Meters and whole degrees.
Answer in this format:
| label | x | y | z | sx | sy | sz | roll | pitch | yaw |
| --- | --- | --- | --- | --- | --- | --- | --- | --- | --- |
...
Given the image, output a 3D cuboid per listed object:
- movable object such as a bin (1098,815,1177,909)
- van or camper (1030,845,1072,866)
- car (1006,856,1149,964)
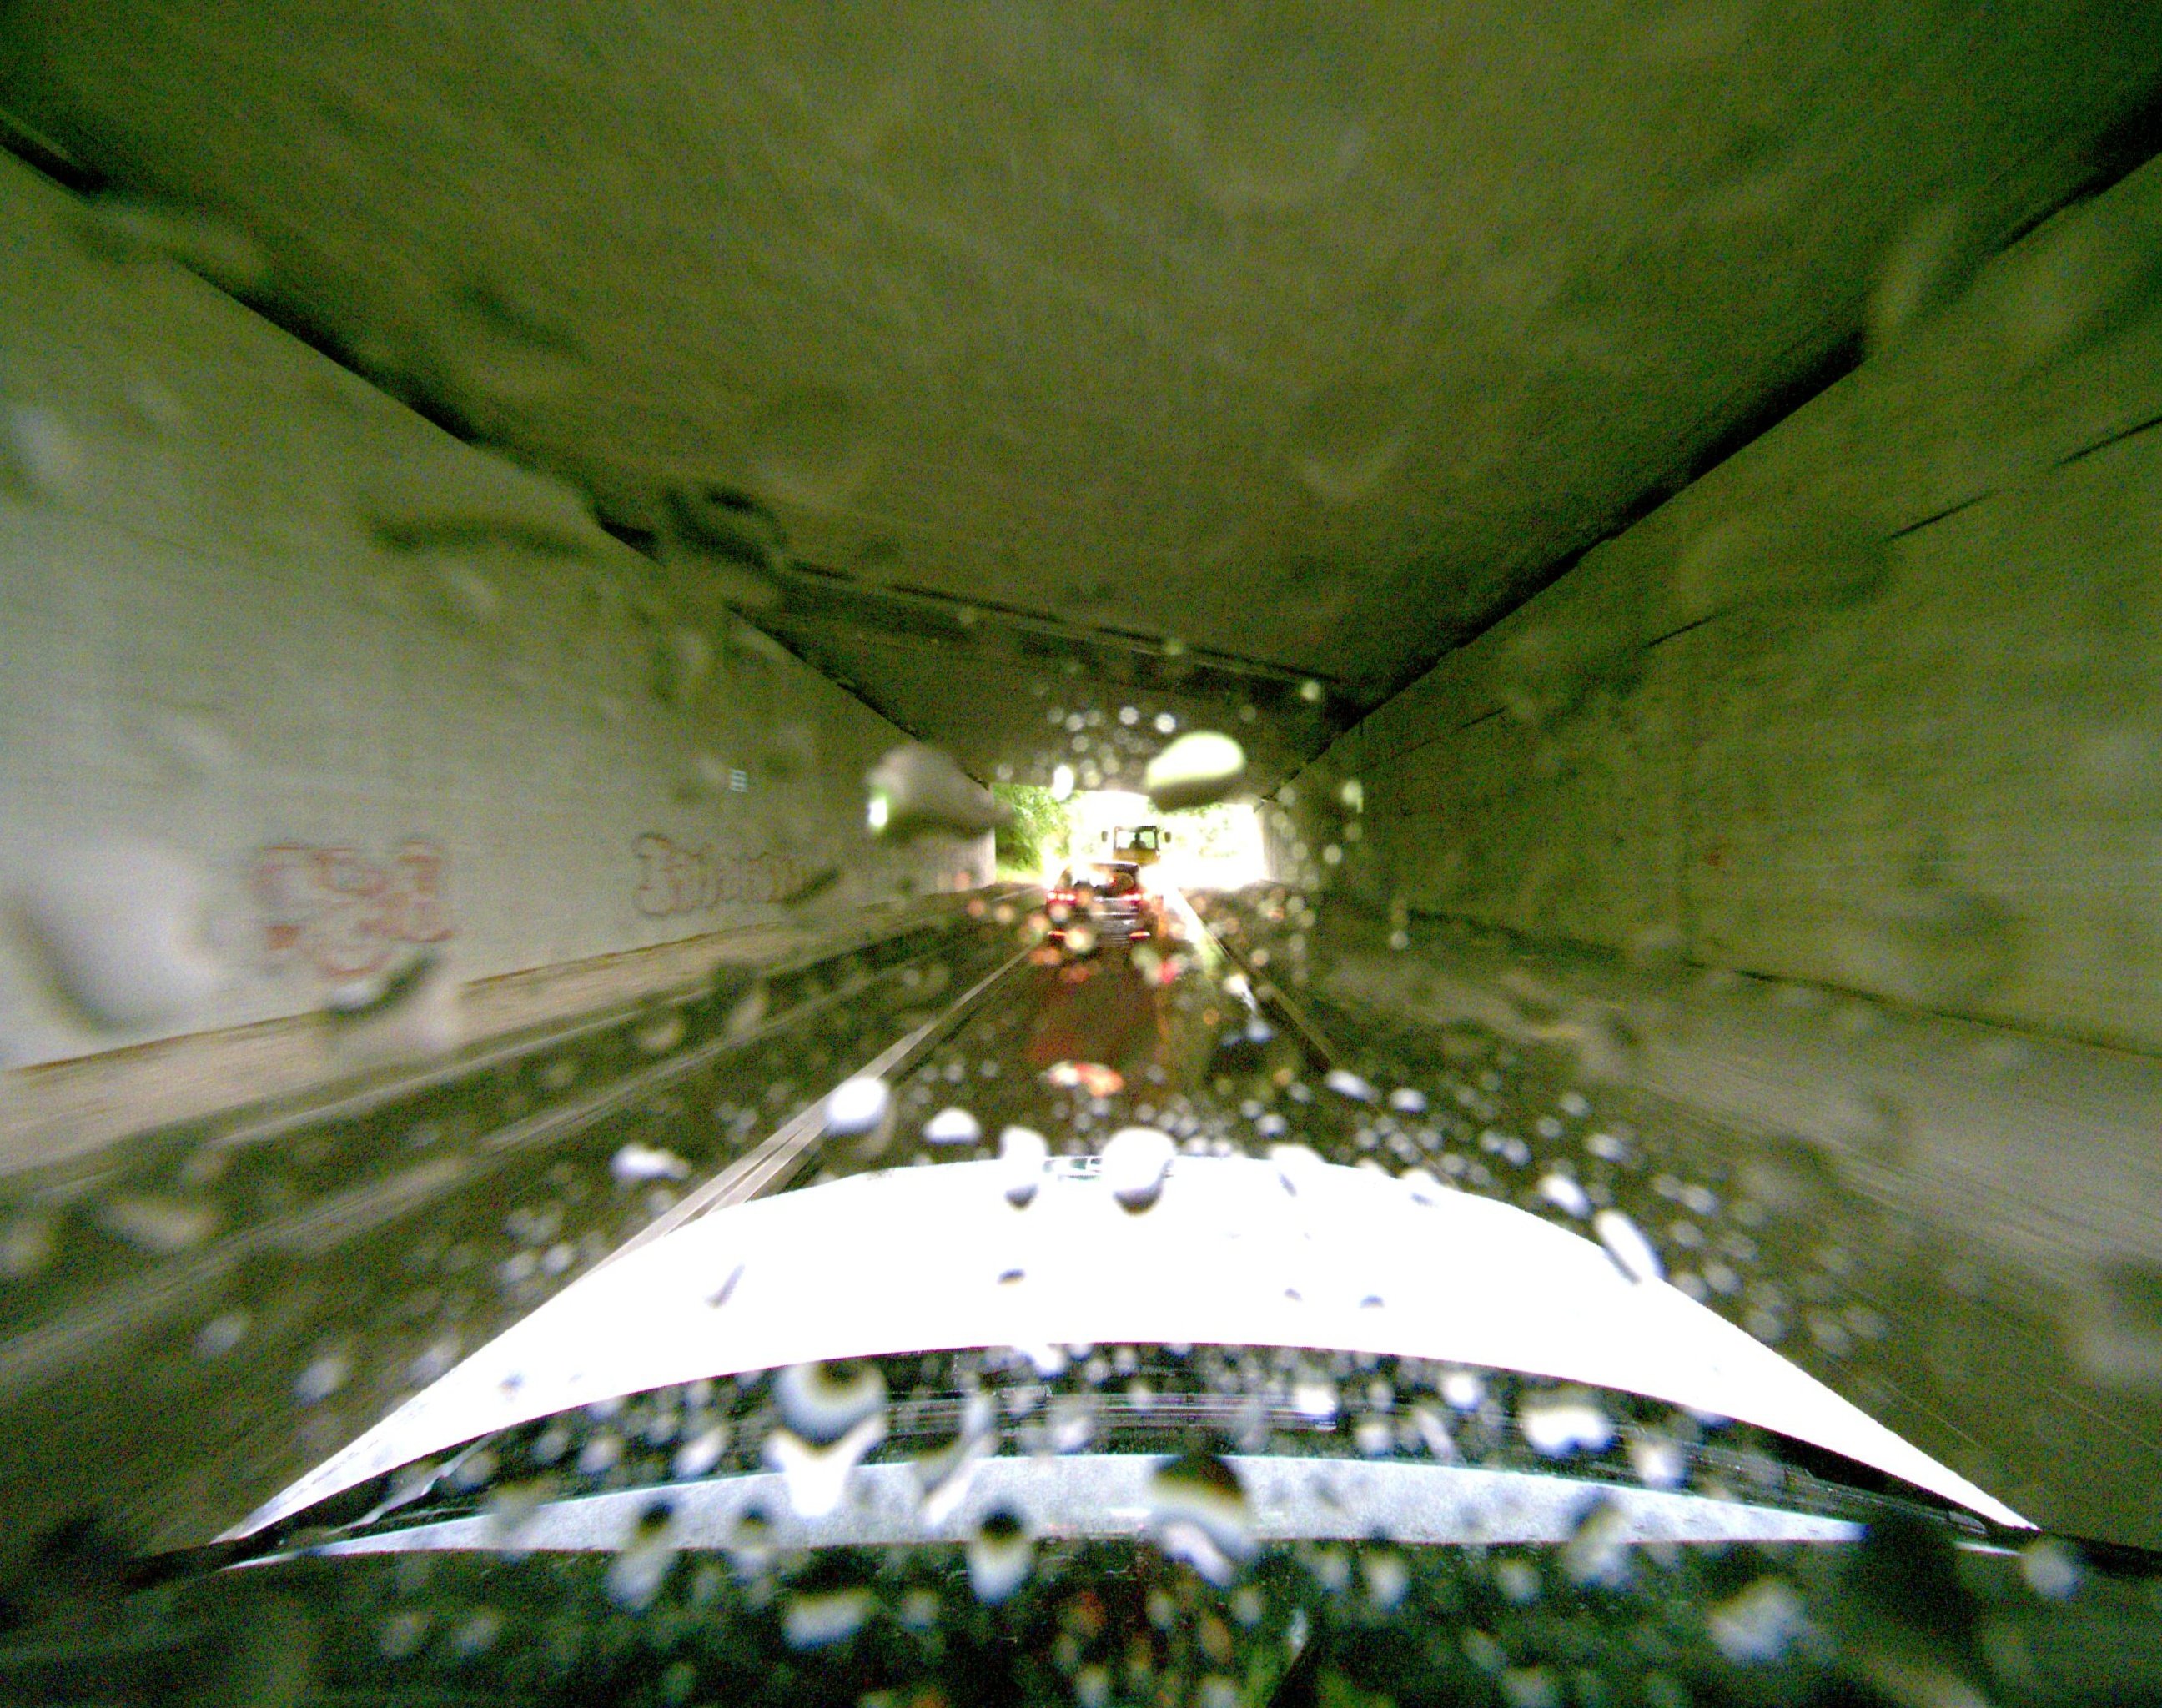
| label | x | y | z | sx | sy | sz | roll | pitch | yaw |
| --- | --- | --- | --- | --- | --- | --- | --- | --- | --- |
| movable object such as a bin | 1.862 | 0.244 | 26.810 | 2.236 | 2.669 | 6.633 | 1 | 0 | 4 |
| van or camper | -3.166 | 0.164 | 85.361 | 2.010 | 2.098 | 4.636 | 1 | 0 | -40 |
| car | 0.010 | 0.794 | 13.457 | 1.986 | 1.487 | 4.001 | 1 | 0 | 1 |
